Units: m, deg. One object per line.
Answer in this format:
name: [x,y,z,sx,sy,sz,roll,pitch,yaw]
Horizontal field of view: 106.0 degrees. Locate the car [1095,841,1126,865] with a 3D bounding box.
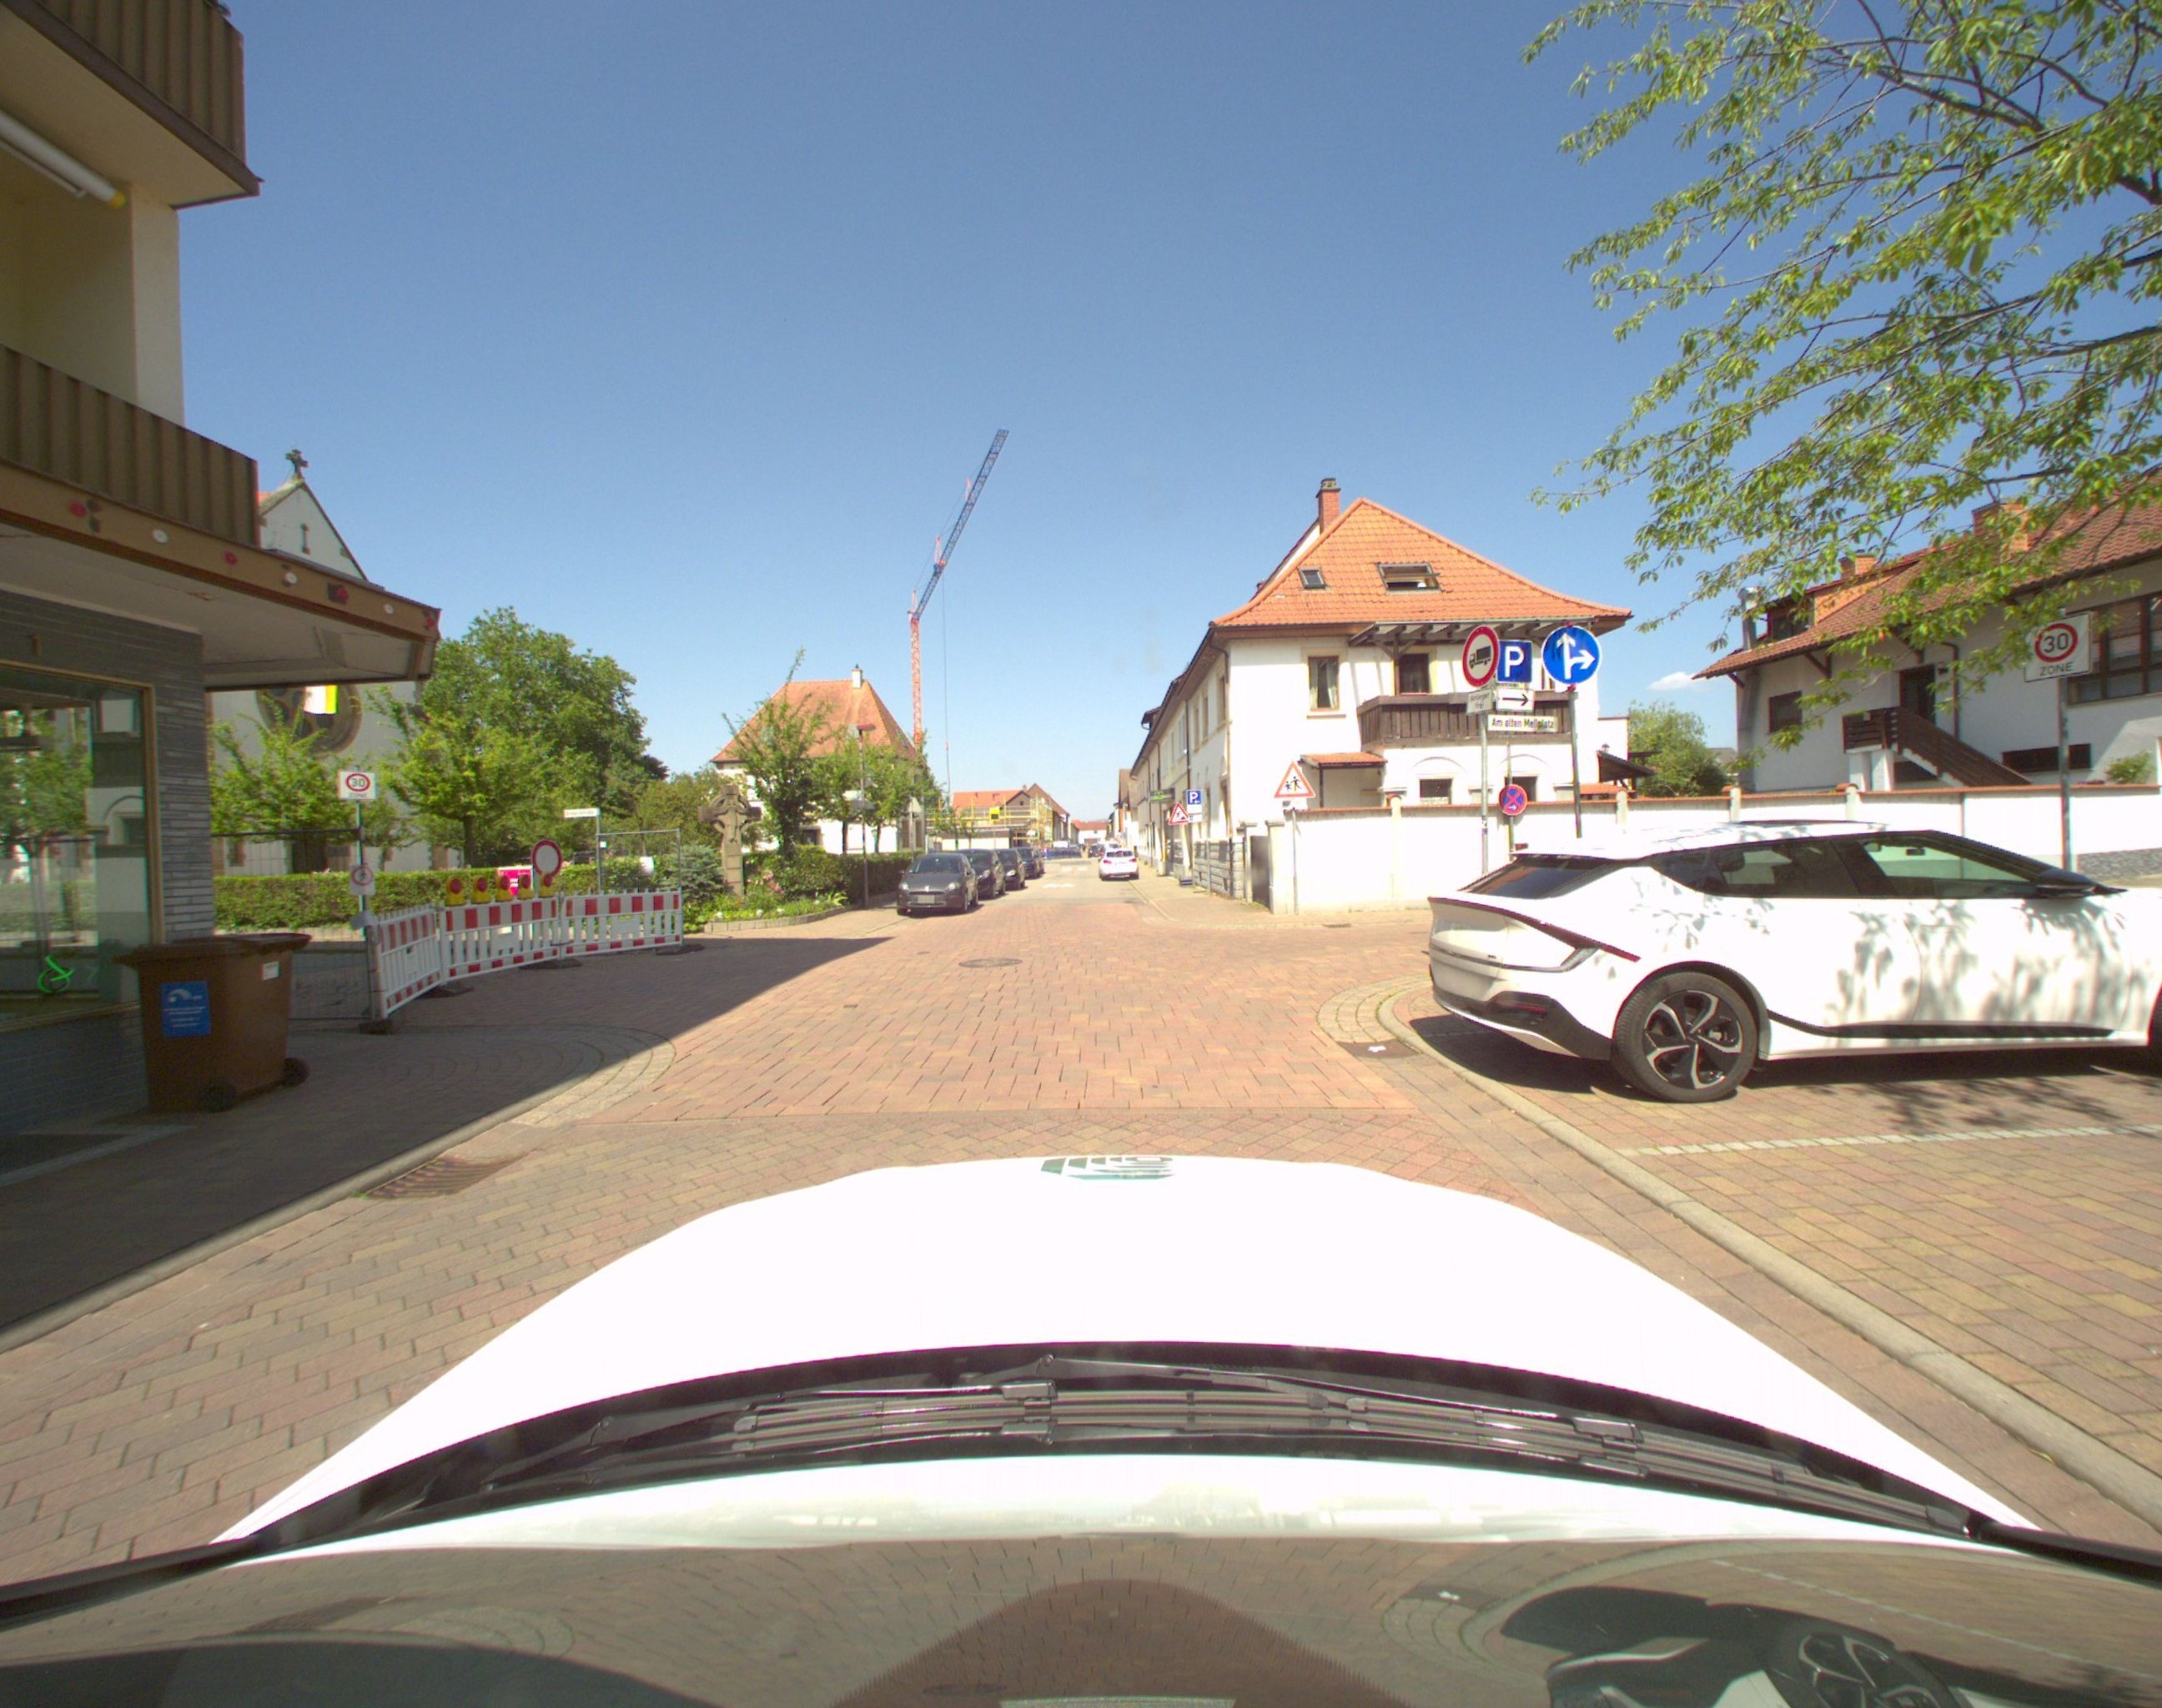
car: [2.137,-0.091,59.412,1.880,1.556,3.892,-5,1,-2]

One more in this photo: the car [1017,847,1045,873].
car: [-2.955,0.319,48.723,1.432,1.474,3.786,-1,1,0]

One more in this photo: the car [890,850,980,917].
car: [-3.644,0.673,20.947,1.698,1.496,3.854,-2,1,-2]

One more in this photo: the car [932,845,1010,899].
car: [-3.543,0.530,26.830,1.808,1.604,4.027,-2,1,2]

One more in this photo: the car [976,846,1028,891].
car: [-3.084,0.526,32.501,1.632,1.628,3.768,-2,1,0]

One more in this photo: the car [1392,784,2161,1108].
car: [4.628,0.480,5.377,4.424,1.575,1.789,-3,1,1]

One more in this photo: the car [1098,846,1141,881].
car: [1.939,0.397,39.583,1.878,1.542,4.248,-2,1,5]

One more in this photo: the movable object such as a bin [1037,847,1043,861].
movable object such as a bin: [-3.465,0.014,68.451,0.431,1.155,0.363,-2,1,-9]

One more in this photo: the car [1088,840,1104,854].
car: [1.838,-0.829,99.470,1.875,1.668,4.153,-1,1,0]

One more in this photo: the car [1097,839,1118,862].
car: [2.060,-0.284,64.588,1.559,1.612,3.544,-2,3,1]

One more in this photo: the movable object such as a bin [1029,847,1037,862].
movable object such as a bin: [-4.001,0.038,67.961,0.621,1.155,0.676,-2,1,-6]

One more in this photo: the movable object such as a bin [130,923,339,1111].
movable object such as a bin: [-5.499,1.028,5.336,0.654,1.070,0.663,-1,0,-5]

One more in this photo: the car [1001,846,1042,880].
car: [-3.104,0.423,43.286,1.821,1.630,4.216,-2,1,-1]
